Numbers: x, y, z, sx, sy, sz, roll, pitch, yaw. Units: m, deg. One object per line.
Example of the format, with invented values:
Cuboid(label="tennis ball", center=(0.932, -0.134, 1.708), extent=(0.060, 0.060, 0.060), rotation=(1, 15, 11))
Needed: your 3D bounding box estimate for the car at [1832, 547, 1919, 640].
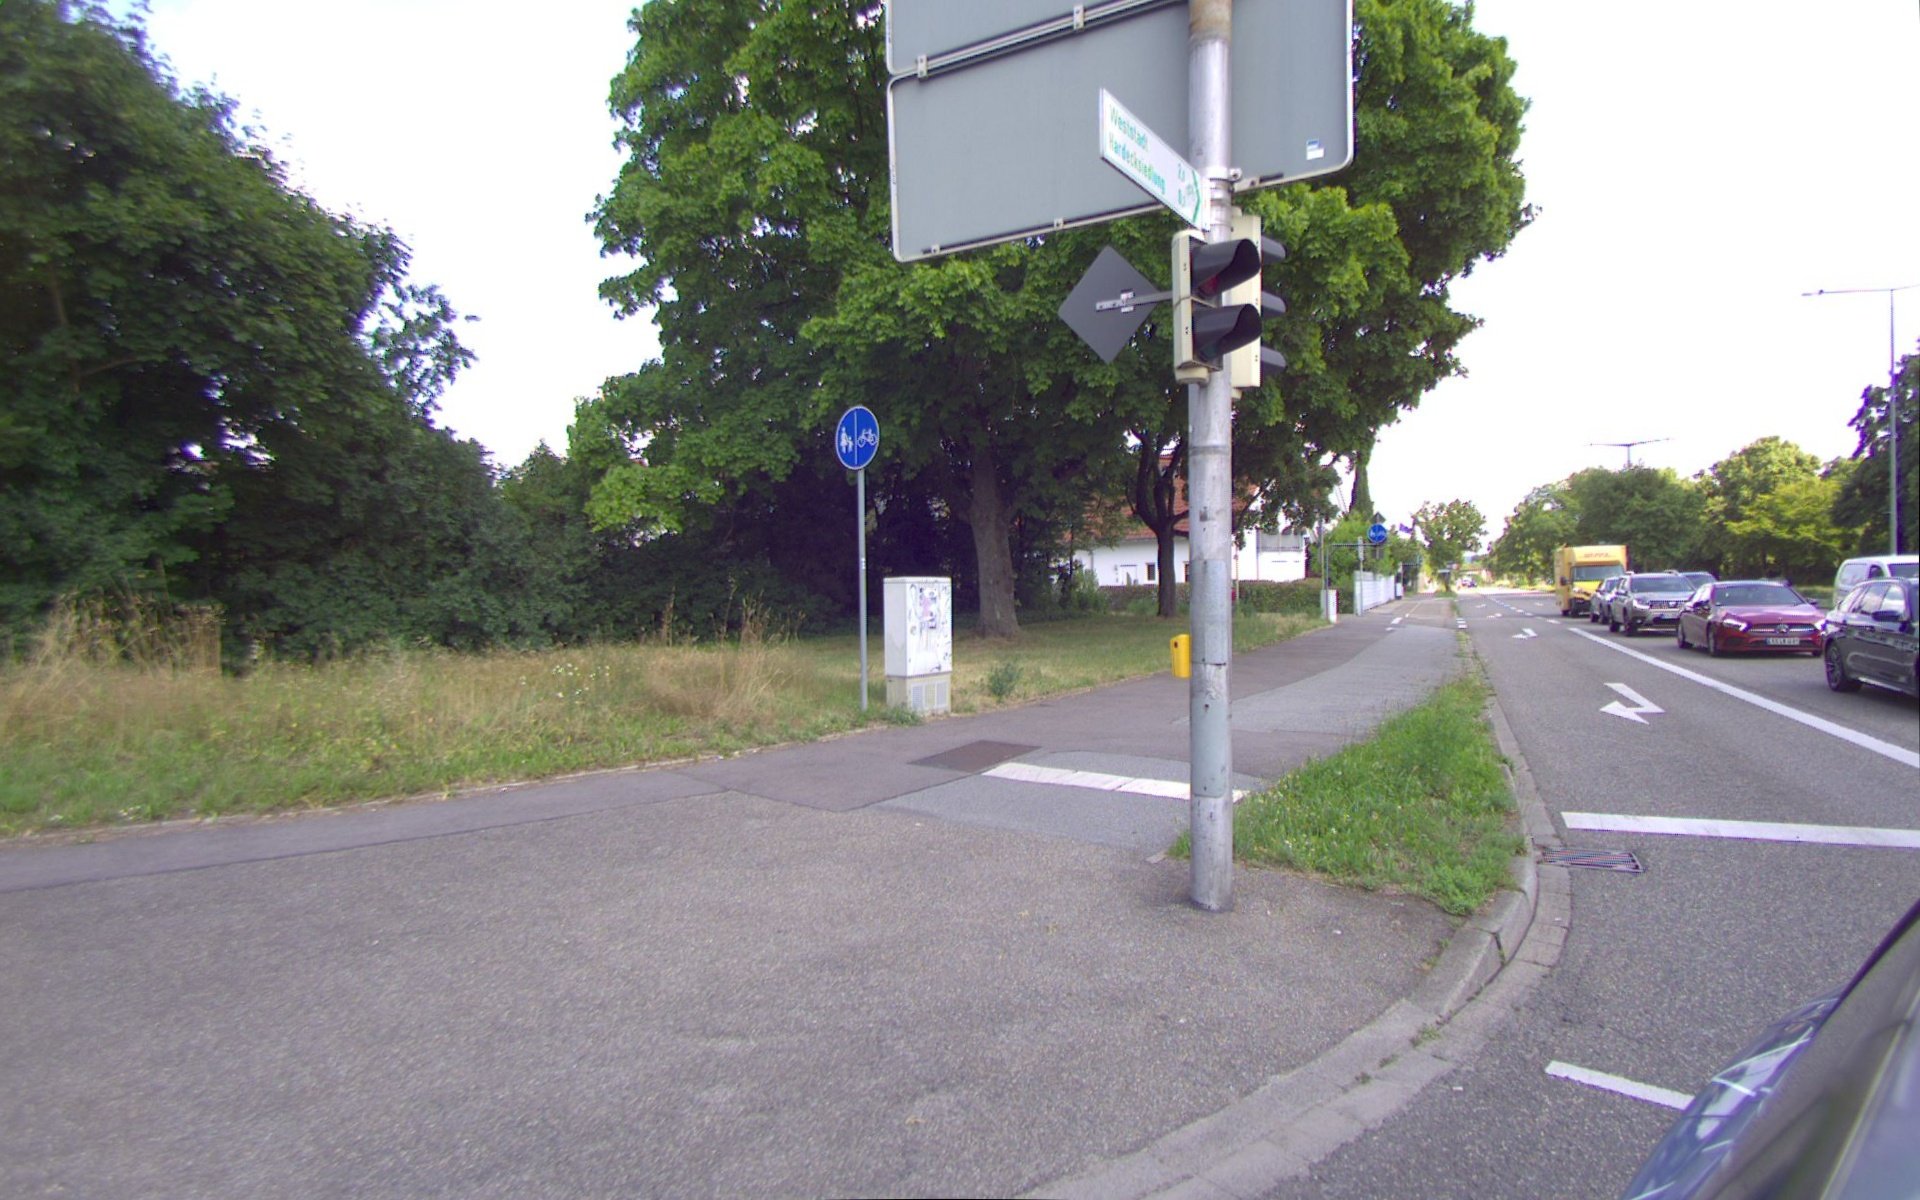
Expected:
Cuboid(label="car", center=(20.397, -0.221, 21.407), extent=(1.753, 1.820, 4.689), rotation=(-2, 1, 26))

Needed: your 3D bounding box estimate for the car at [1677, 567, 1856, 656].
Cuboid(label="car", center=(15.524, 0.166, 19.751), extent=(1.711, 1.481, 4.495), rotation=(-3, 0, 26))

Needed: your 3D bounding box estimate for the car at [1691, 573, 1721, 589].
Cuboid(label="car", center=(67.863, -1.724, 92.112), extent=(1.450, 1.388, 3.629), rotation=(0, 1, 24))

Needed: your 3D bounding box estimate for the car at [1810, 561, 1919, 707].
Cuboid(label="car", center=(11.566, 0.327, 11.451), extent=(1.784, 1.515, 4.830), rotation=(-3, 0, 26))

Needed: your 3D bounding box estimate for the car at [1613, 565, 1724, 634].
Cuboid(label="car", center=(18.531, -0.064, 26.646), extent=(1.711, 1.632, 4.139), rotation=(-2, 1, 26))

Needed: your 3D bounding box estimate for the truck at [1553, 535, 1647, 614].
Cuboid(label="truck", center=(26.151, -1.032, 41.628), extent=(2.341, 2.896, 6.905), rotation=(-3, 0, 26))

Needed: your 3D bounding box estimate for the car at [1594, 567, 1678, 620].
Cuboid(label="car", center=(22.110, -0.240, 33.239), extent=(1.711, 1.550, 3.860), rotation=(-3, 0, 26))

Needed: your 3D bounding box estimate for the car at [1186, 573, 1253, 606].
Cuboid(label="car", center=(12.856, -0.523, 49.952), extent=(1.672, 1.550, 4.336), rotation=(-1, 1, 36))

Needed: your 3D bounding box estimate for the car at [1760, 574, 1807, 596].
Cuboid(label="car", center=(57.964, -1.063, 71.321), extent=(1.515, 1.476, 4.173), rotation=(-1, 1, 24))
